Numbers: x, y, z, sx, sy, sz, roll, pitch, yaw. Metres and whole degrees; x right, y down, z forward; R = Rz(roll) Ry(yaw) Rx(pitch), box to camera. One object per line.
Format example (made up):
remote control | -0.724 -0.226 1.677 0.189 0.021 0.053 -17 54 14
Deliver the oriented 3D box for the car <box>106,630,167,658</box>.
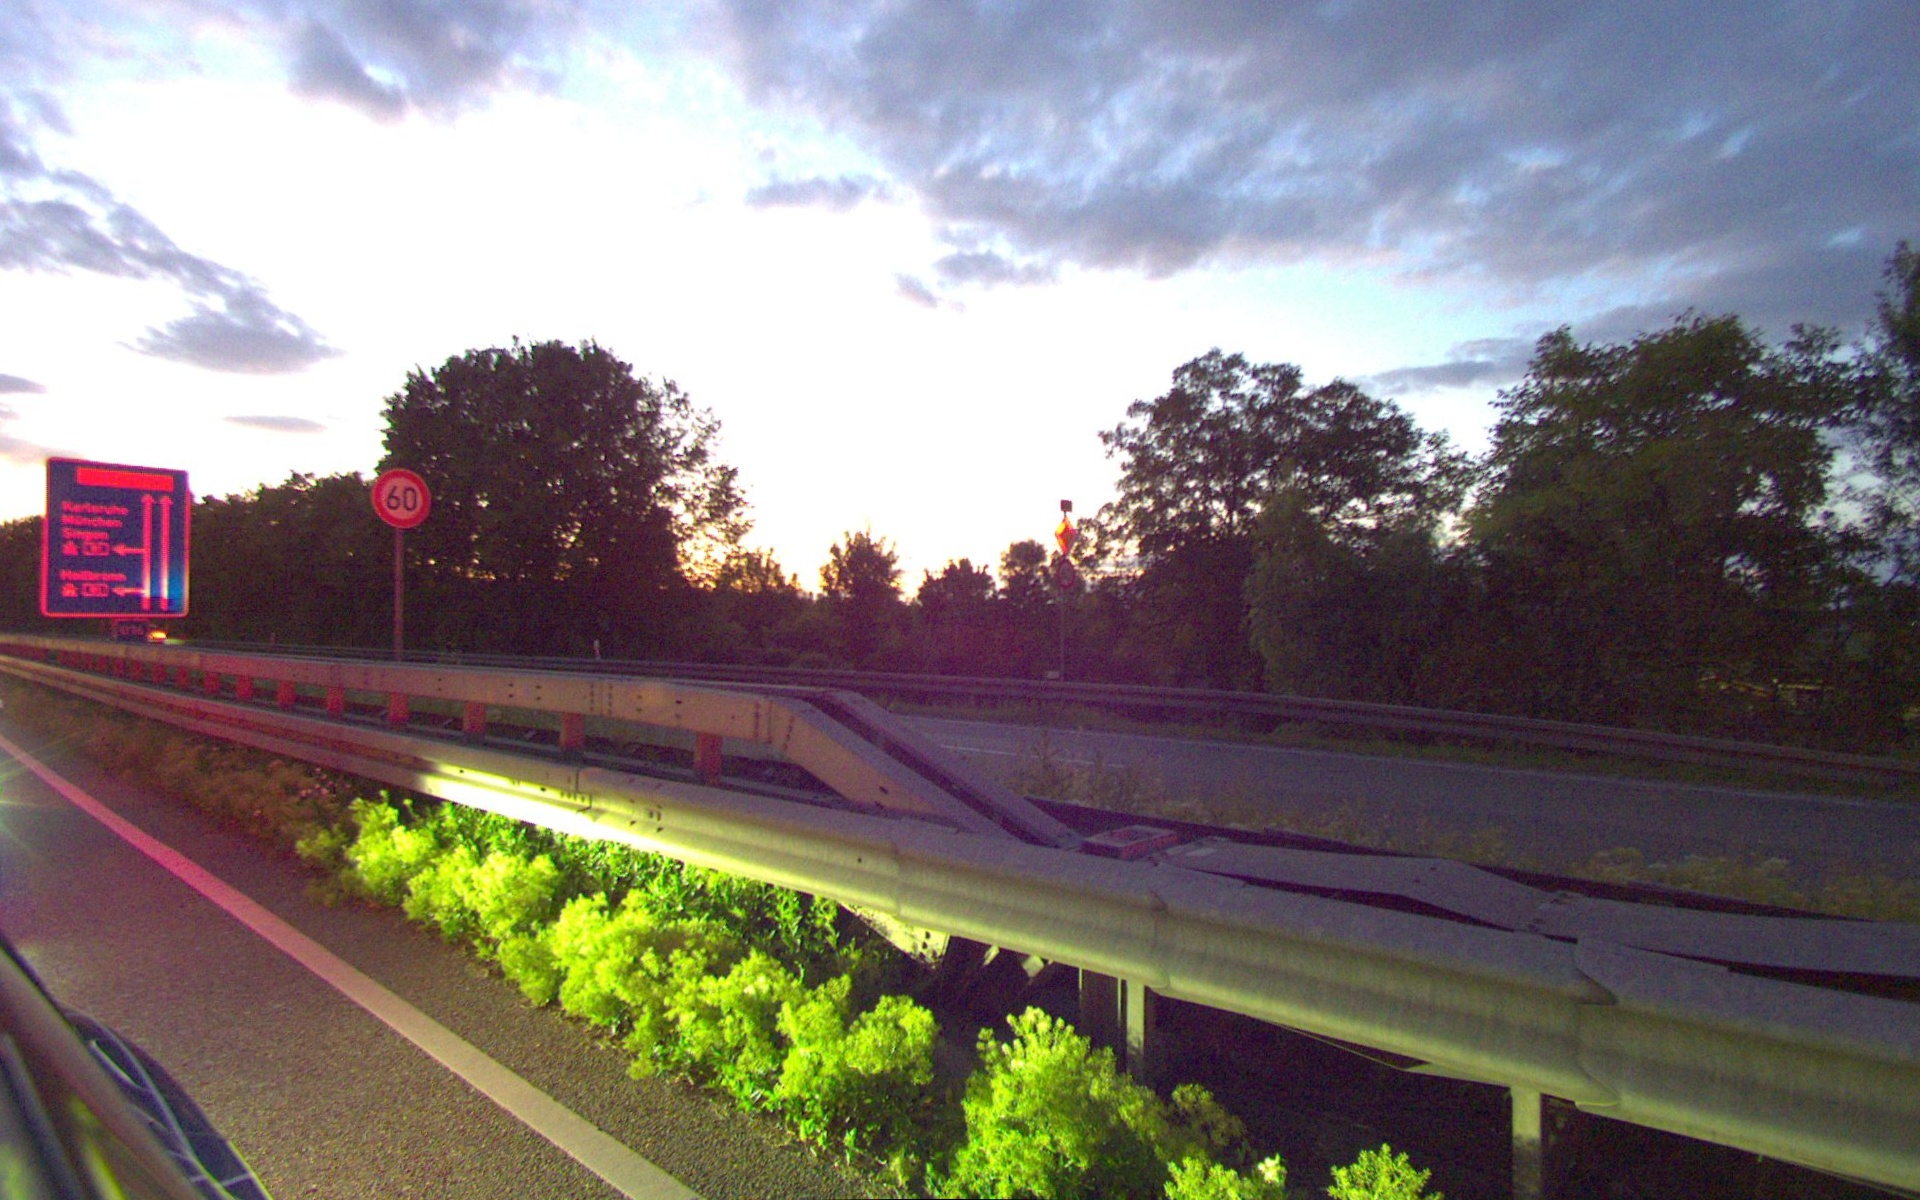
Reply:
car | -46.648 2.465 57.298 4.295 1.530 1.973 -2 -2 41

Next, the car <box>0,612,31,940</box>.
car | -6.627 0.847 5.445 4.511 1.492 1.877 -1 -1 40
